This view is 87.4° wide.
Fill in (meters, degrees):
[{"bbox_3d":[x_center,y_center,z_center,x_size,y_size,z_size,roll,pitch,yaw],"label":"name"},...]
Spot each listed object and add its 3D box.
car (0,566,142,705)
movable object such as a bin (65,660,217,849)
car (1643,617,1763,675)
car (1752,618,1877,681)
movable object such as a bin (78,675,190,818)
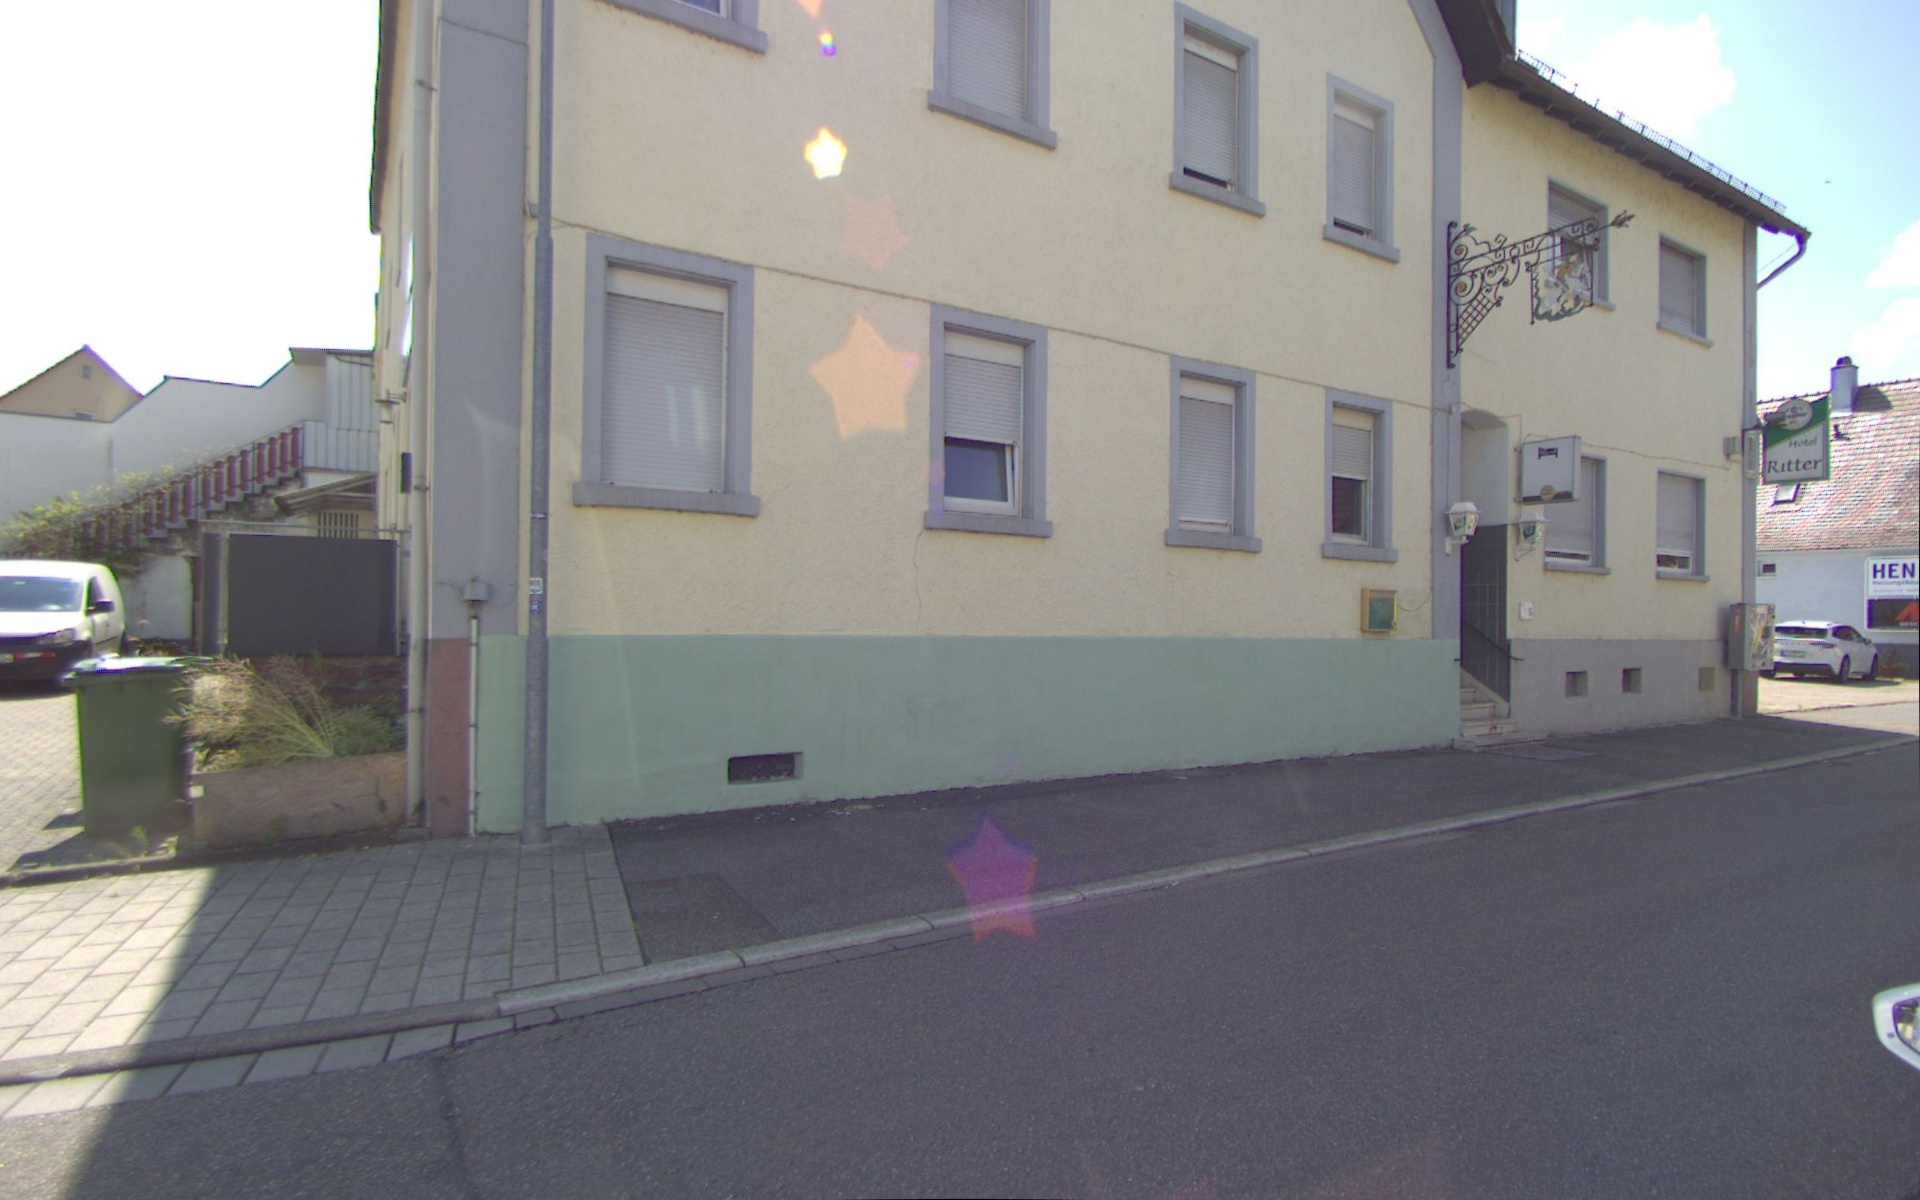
[{"bbox_3d":[-13.684,0.419,14.846,1.885,1.782,4.541,2,0,-32],"label":"car"},{"bbox_3d":[-5.199,0.944,6.415,0.651,1.093,0.596,1,-1,-32],"label":"movable object such as a bin"},{"bbox_3d":[22.361,1.341,30.203,4.158,1.577,1.707,1,0,-36],"label":"car"},{"bbox_3d":[23.929,1.347,28.100,4.158,1.577,1.707,1,0,-36],"label":"car"},{"bbox_3d":[-5.895,1.022,7.194,0.541,0.941,0.476,1,-1,-32],"label":"movable object such as a bin"}]
